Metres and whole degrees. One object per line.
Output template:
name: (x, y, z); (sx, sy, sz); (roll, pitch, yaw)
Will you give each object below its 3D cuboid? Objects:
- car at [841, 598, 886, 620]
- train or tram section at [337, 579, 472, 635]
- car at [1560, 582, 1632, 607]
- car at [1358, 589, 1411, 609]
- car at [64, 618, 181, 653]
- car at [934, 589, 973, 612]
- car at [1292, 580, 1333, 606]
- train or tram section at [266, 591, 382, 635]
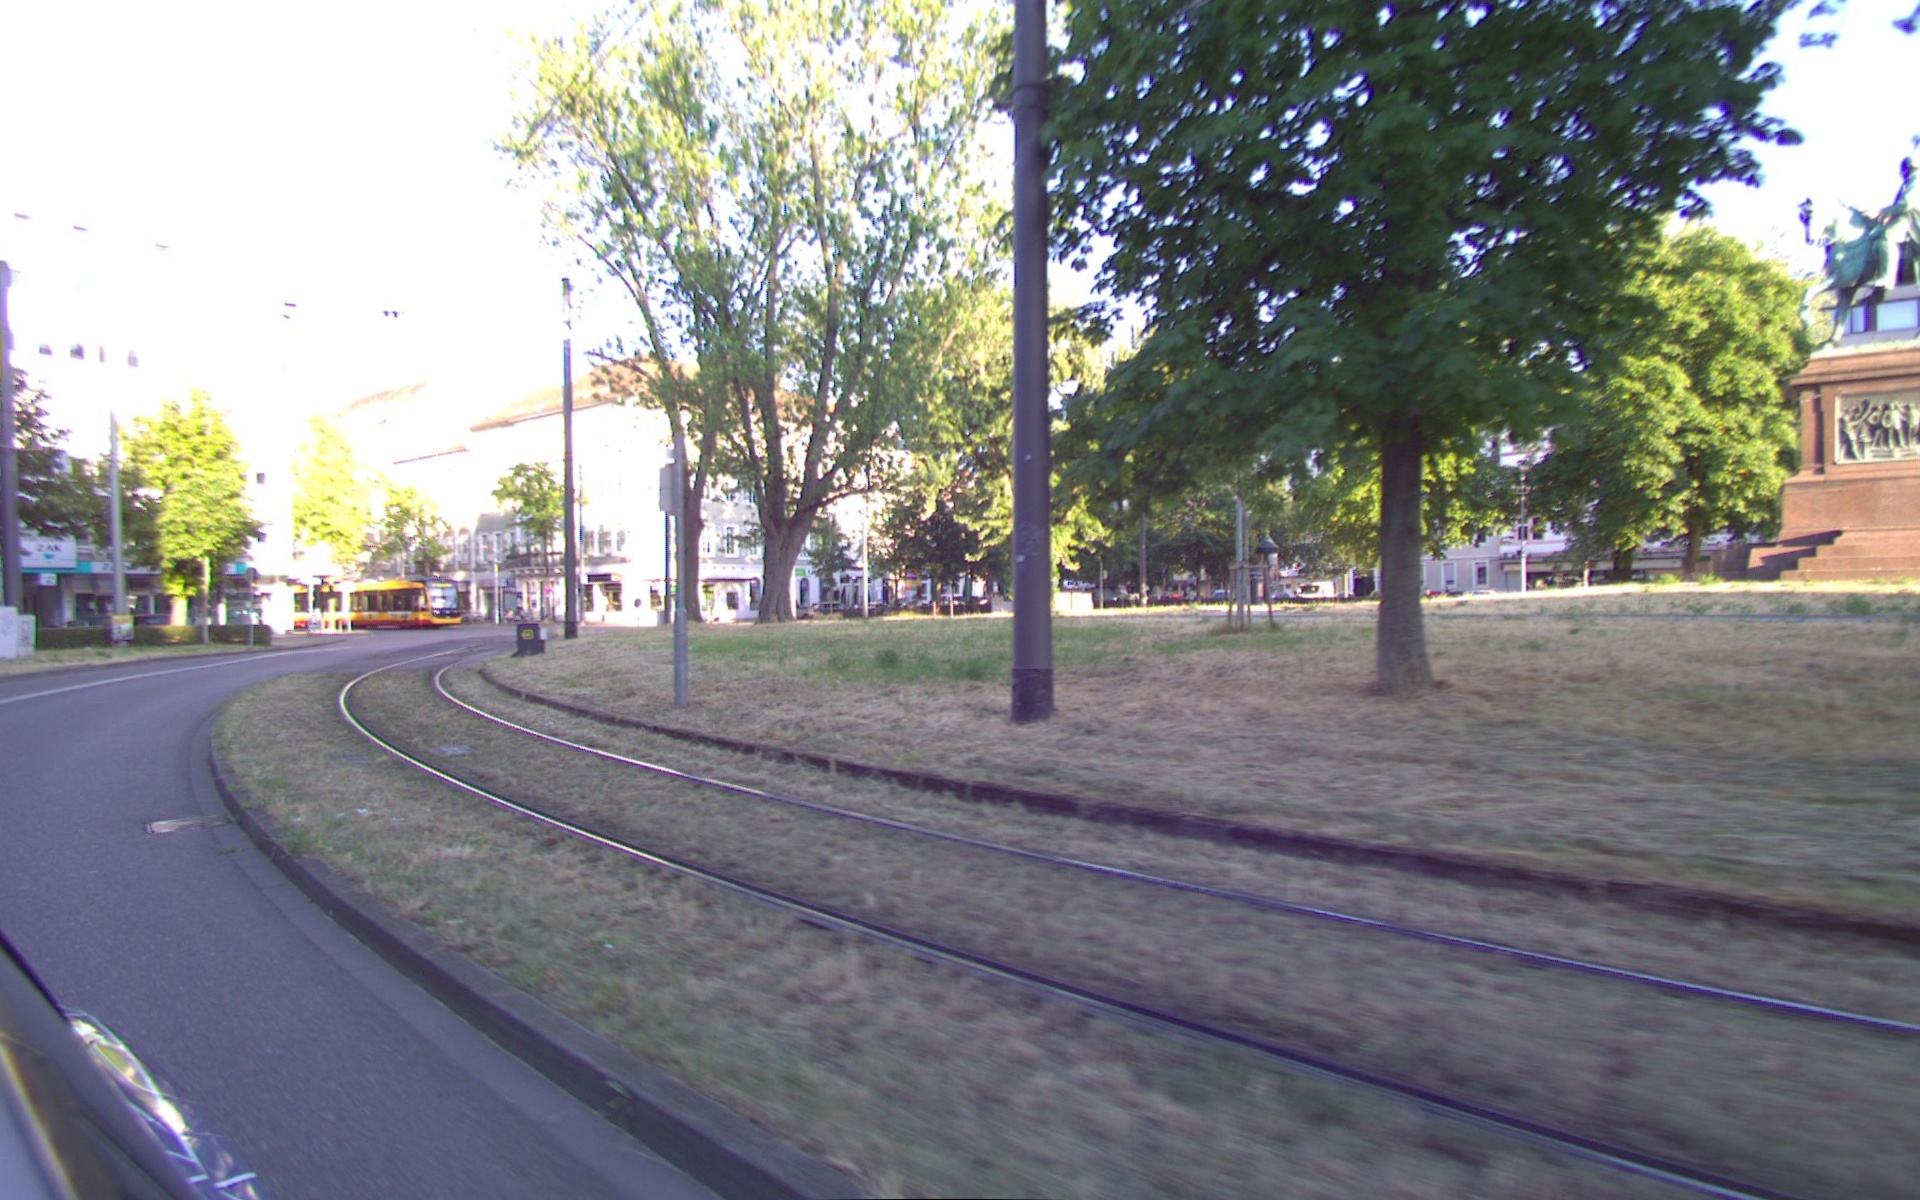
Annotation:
car: (-8.585, 0.805, 90.389); (1.993, 1.918, 3.957); (-2, -1, 32)
train or tram section: (-38.915, 0.486, 70.584); (13.341, 3.611, 2.914); (-1, 1, 36)
car: (46.196, -0.386, 73.543); (1.730, 1.676, 4.011); (-1, -1, -32)
car: (37.196, -0.080, 88.795); (1.766, 1.592, 4.012); (-1, -1, -28)
car: (-39.905, 1.688, 48.300); (1.843, 1.461, 3.954); (-2, -1, 34)
car: (-0.570, 0.018, 94.840); (1.853, 2.014, 3.958); (0, 2, 32)
car: (28.996, -0.560, 83.206); (1.997, 2.029, 3.948); (-3, -1, 38)
train or tram section: (-49.279, 1.003, 78.203); (12.827, 3.165, 2.897); (-1, 1, 35)
